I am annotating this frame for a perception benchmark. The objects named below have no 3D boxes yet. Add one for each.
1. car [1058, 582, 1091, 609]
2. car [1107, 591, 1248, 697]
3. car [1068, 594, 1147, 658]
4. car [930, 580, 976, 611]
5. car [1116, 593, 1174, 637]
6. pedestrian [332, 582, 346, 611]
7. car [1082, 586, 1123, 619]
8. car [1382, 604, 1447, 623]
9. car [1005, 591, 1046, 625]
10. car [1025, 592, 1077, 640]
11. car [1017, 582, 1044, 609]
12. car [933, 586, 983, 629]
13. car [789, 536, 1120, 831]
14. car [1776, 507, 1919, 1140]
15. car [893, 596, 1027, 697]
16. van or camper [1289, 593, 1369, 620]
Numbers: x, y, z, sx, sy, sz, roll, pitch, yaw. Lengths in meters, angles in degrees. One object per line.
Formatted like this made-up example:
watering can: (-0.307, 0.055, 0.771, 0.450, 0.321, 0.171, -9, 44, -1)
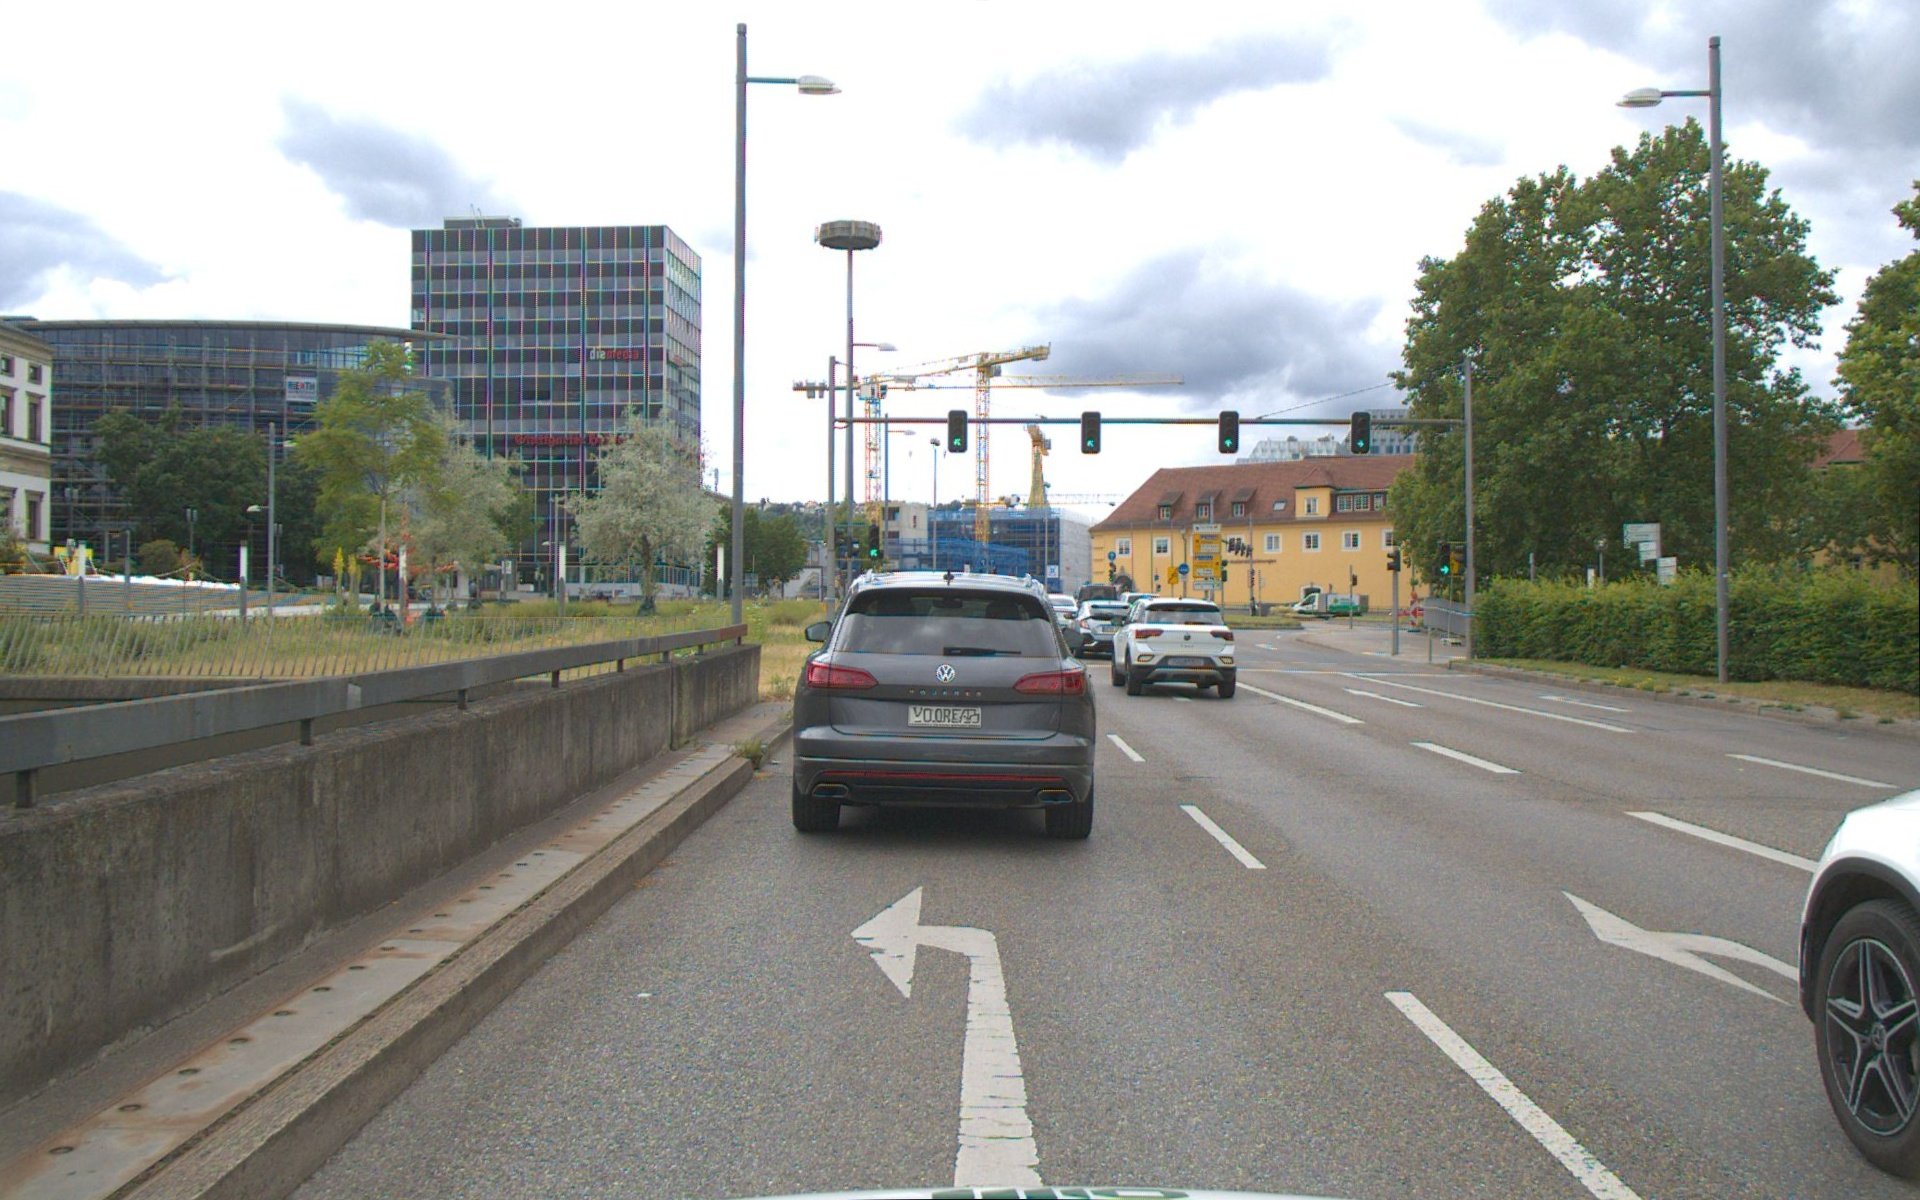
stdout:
car: (6.665, -0.285, 96.729, 1.683, 1.529, 3.982, 1, 0, 1)
car: (3.581, 0.677, 27.814, 1.855, 1.613, 3.801, 1, 0, 0)
car: (3.727, 0.623, 42.355, 1.683, 1.529, 4.144, 1, 0, 1)
car: (-0.404, -0.253, 86.542, 2.199, 1.529, 4.609, 1, 0, -2)
car: (6.847, 0.524, 61.639, 1.766, 1.529, 3.982, 1, 0, 1)
pedestrian: (-36.479, -0.217, 97.185, 0.513, 1.678, 0.650, 1, 0, -2)
car: (6.914, 0.093, 80.657, 1.683, 1.529, 3.982, 1, 0, 1)
car: (34.913, 1.024, 127.074, 4.593, 1.445, 1.593, 1, 0, 32)
car: (3.474, 0.445, 88.431, 2.095, 1.758, 4.071, 1, 0, 1)
car: (3.110, 0.501, 55.905, 1.683, 1.529, 3.983, 1, 0, 4)
car: (5.529, -0.346, 129.851, 1.953, 2.049, 4.000, 1, 0, 0)
car: (-0.083, 0.241, 61.310, 1.777, 1.522, 3.906, 1, 0, 0)
car: (-0.035, 0.468, 11.597, 1.893, 1.676, 4.000, 1, 0, 0)
car: (3.415, 0.617, 2.977, 1.781, 1.676, 4.379, 1, 0, 1)
car: (-0.001, 0.682, 26.218, 1.953, 1.411, 4.000, 1, 1, 0)
van or camper: (29.193, 0.530, 131.017, 5.904, 2.049, 2.012, 1, 0, 36)
